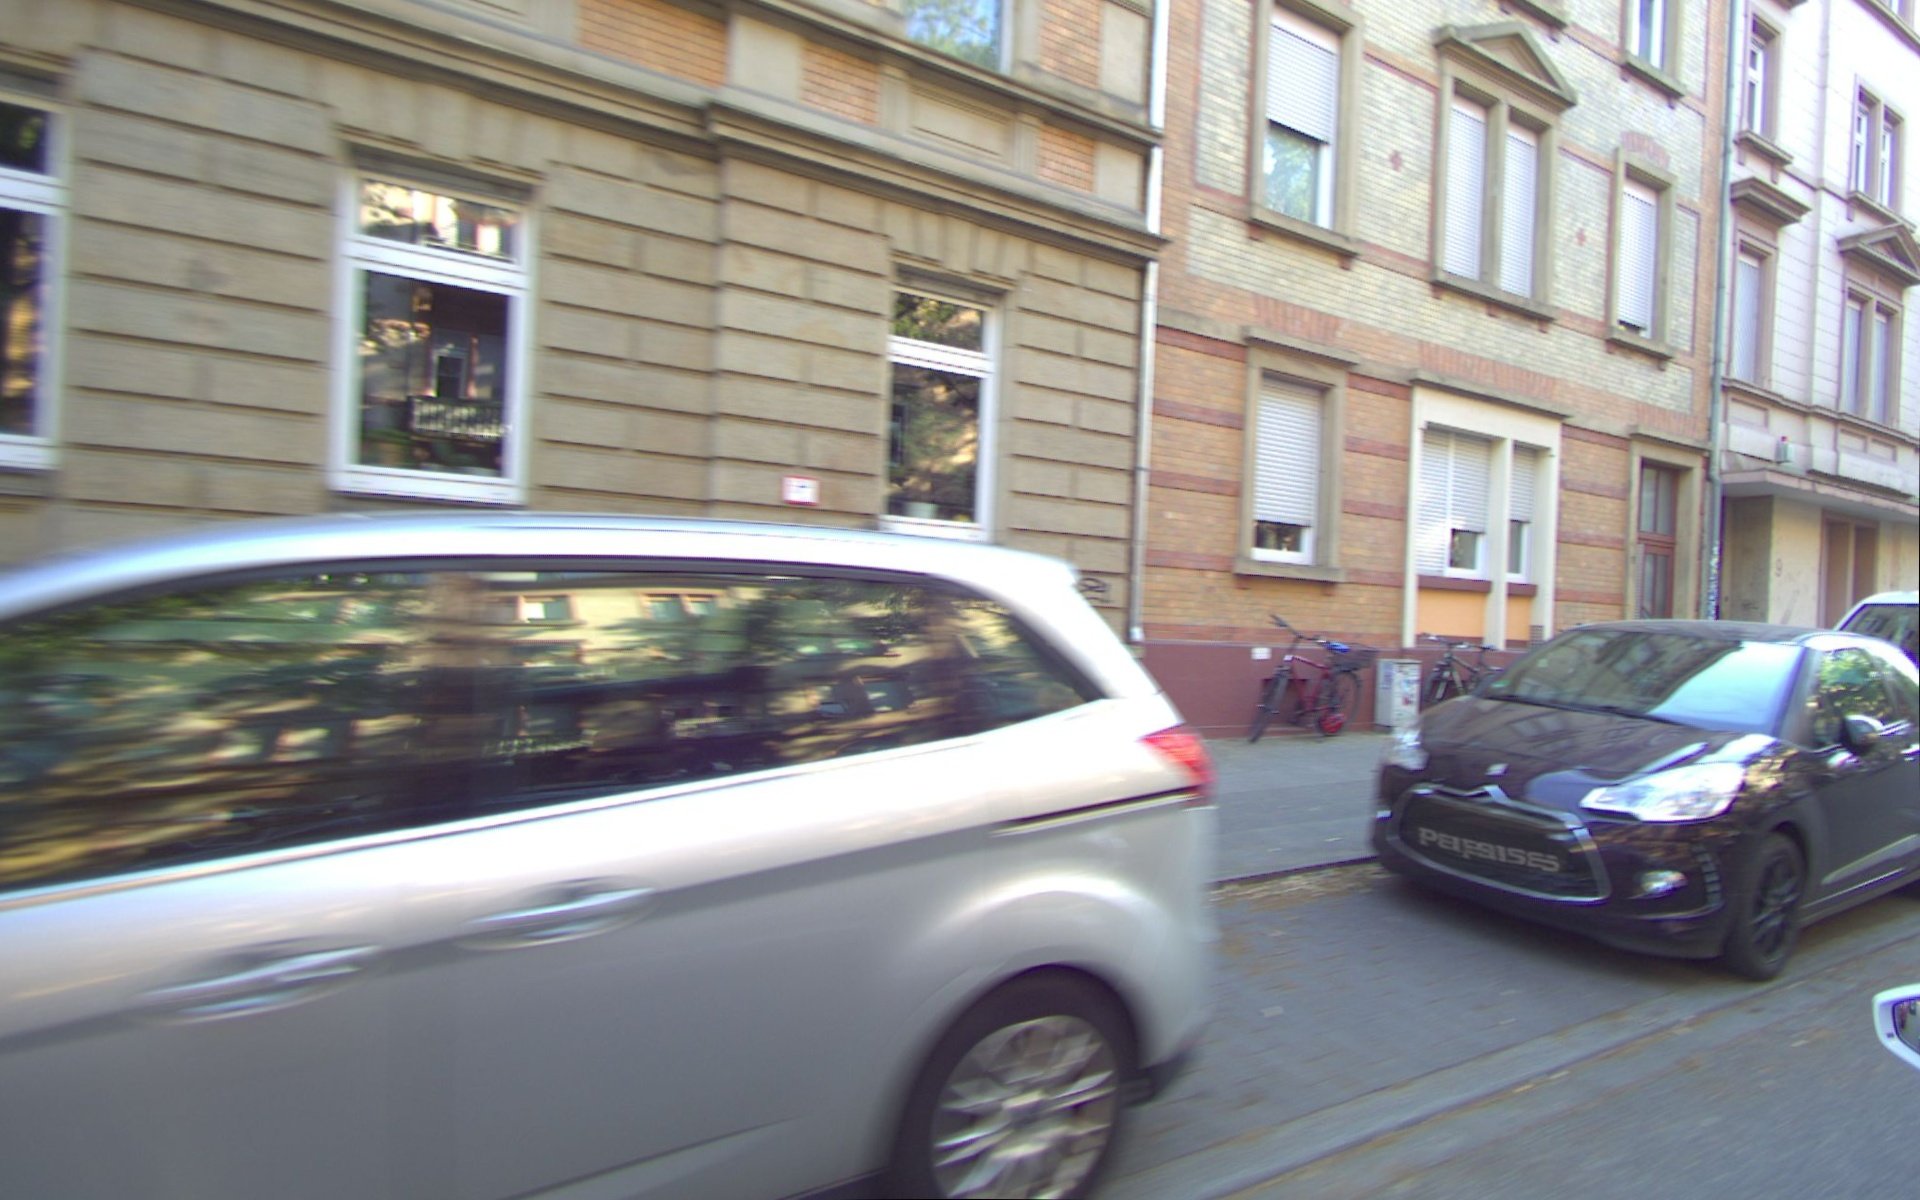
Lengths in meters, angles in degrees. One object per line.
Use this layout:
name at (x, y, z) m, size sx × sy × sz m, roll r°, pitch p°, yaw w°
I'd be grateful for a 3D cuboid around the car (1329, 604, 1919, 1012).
car at (3.917, 0.821, 5.383) m, size 3.782 × 1.440 × 1.628 m, roll 2°, pitch 1°, yaw -32°

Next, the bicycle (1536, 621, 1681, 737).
bicycle at (8.127, 0.939, 12.527) m, size 2.645 × 1.297 × 0.623 m, roll 2°, pitch 0°, yaw -37°

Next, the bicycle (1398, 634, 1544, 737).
bicycle at (5.668, 0.923, 11.102) m, size 1.887 × 1.037 × 0.491 m, roll 2°, pitch 1°, yaw -31°

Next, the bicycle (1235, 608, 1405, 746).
bicycle at (3.640, 0.749, 10.094) m, size 1.887 × 1.274 × 0.491 m, roll 2°, pitch 1°, yaw -31°

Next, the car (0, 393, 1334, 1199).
car at (-1.264, 0.558, 2.334) m, size 4.109 × 1.680 × 1.758 m, roll 2°, pitch 1°, yaw -30°

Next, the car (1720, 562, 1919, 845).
car at (8.175, 0.737, 7.971) m, size 4.555 × 1.858 × 1.832 m, roll 2°, pitch 1°, yaw -32°
